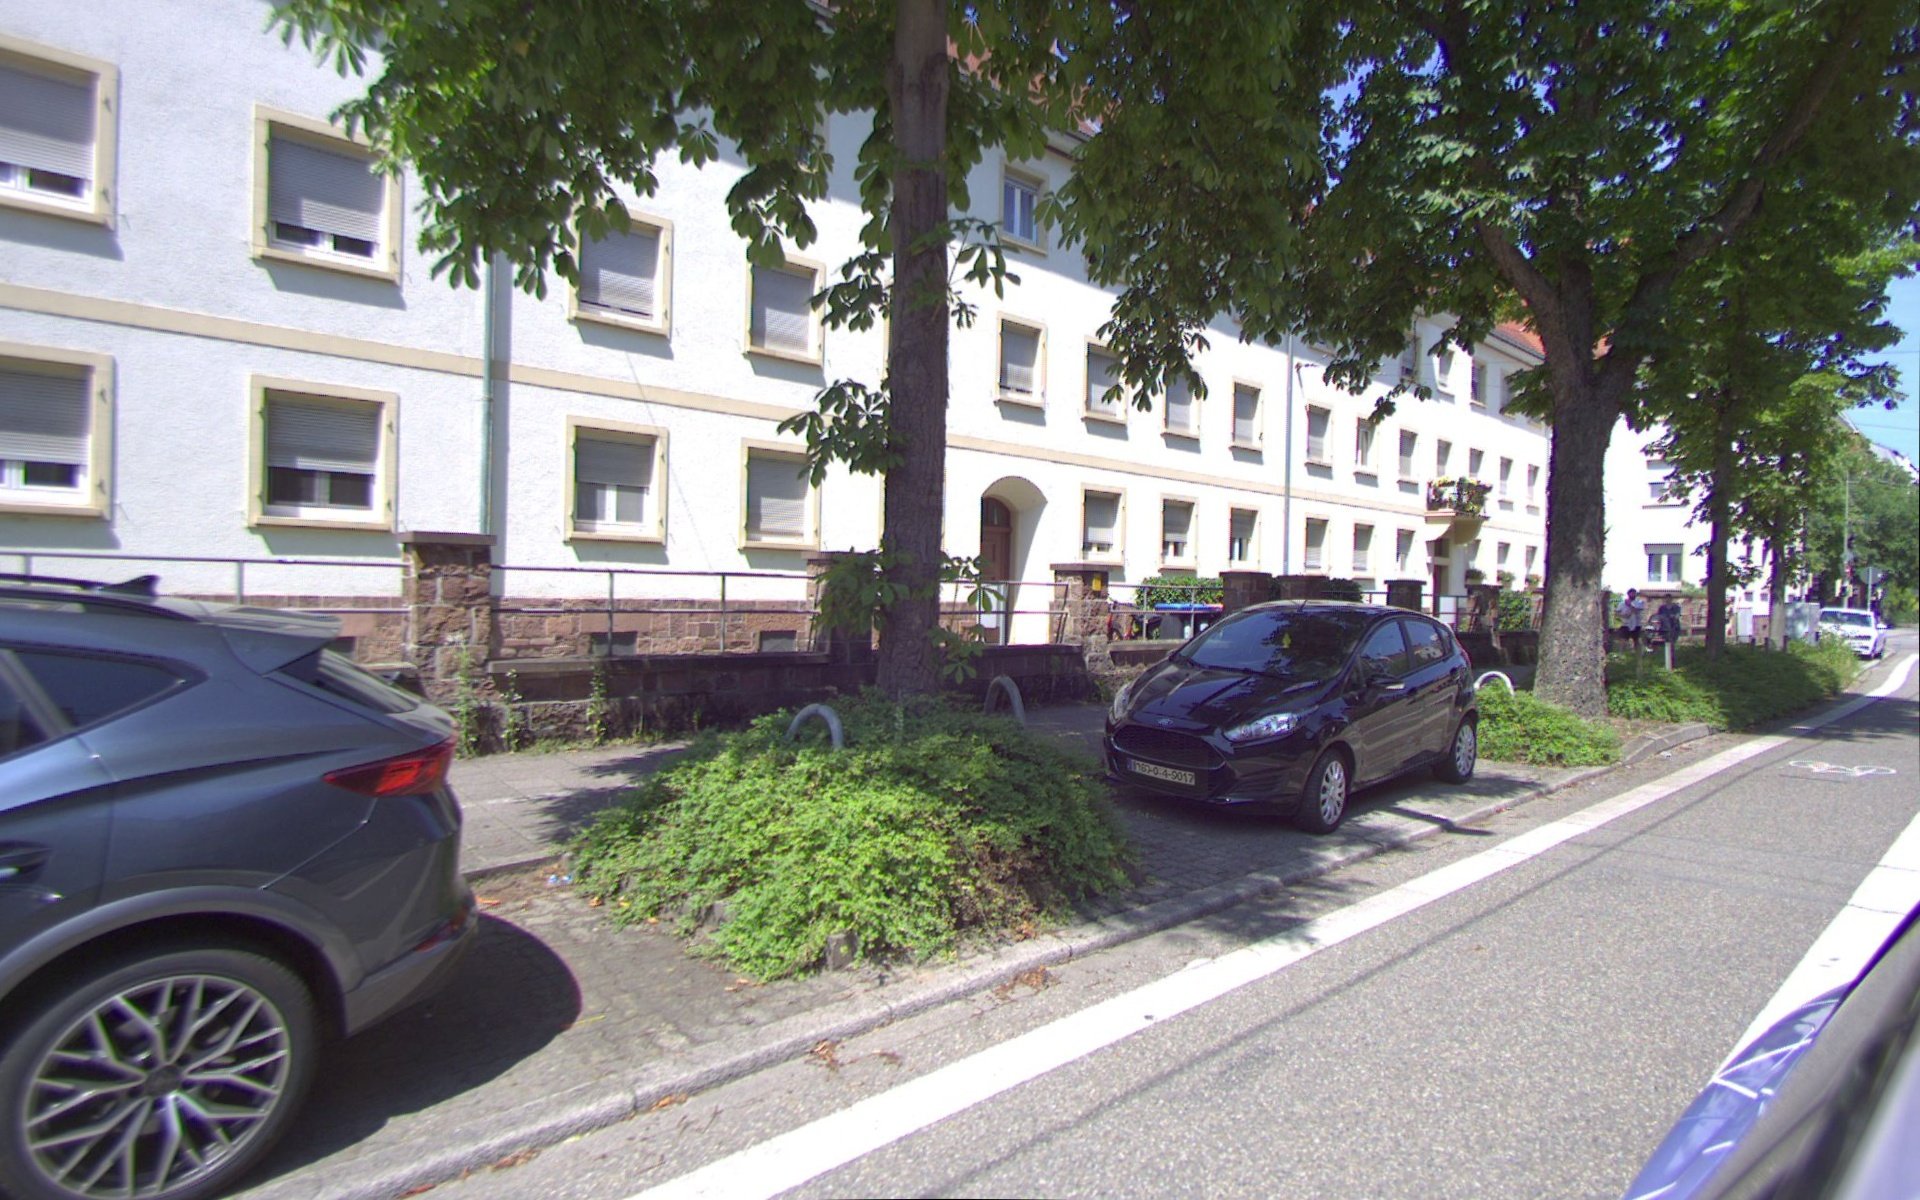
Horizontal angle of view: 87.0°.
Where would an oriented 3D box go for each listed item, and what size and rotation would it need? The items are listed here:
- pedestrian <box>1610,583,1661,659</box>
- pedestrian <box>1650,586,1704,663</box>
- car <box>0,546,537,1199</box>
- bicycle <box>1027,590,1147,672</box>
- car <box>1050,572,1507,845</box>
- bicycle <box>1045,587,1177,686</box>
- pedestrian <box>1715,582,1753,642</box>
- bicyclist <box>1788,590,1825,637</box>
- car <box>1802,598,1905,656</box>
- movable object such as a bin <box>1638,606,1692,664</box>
[{"bbox_3d":[15.778,0.473,23.645,0.743,1.689,0.699,1,4,-42],"label":"pedestrian"},{"bbox_3d":[16.506,0.553,23.295,0.854,1.689,0.699,1,4,-42],"label":"pedestrian"},{"bbox_3d":[-3.457,0.628,2.132,4.378,1.571,1.735,1,2,-43],"label":"car"},{"bbox_3d":[1.980,0.463,15.611,1.934,1.139,0.598,1,5,-40],"label":"bicycle"},{"bbox_3d":[2.633,0.637,7.814,3.934,1.534,1.658,1,2,-44],"label":"car"},{"bbox_3d":[2.087,0.478,13.815,1.935,1.224,0.598,2,4,-42],"label":"bicycle"},{"bbox_3d":[22.414,0.346,29.324,0.743,1.690,0.698,1,1,-43],"label":"pedestrian"},{"bbox_3d":[27.758,0.435,33.180,0.992,1.470,0.713,1,1,-39],"label":"bicyclist"},{"bbox_3d":[27.013,0.799,30.560,4.085,1.426,1.782,1,6,-43],"label":"car"},{"bbox_3d":[15.794,0.778,22.674,1.018,1.200,0.699,1,4,-42],"label":"movable object such as a bin"}]
